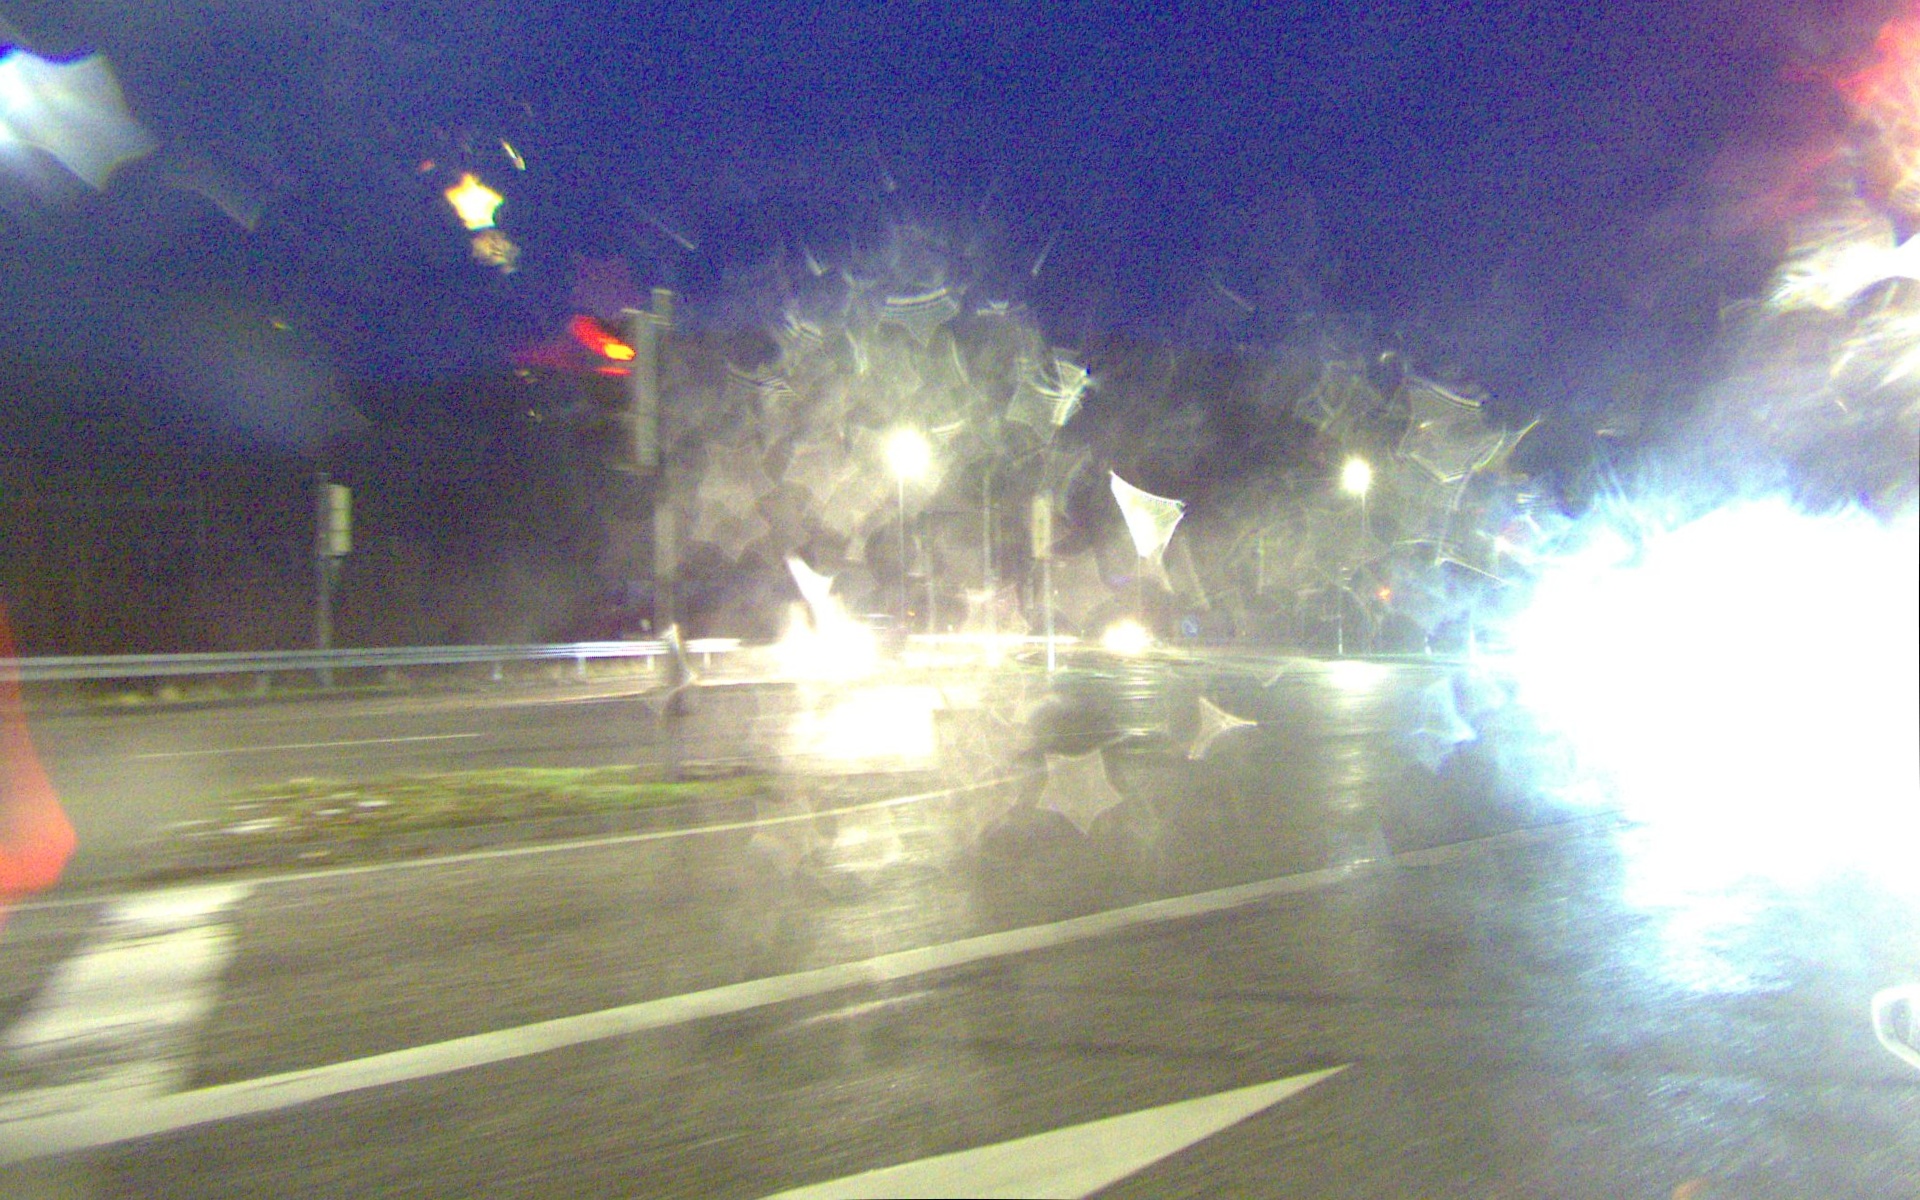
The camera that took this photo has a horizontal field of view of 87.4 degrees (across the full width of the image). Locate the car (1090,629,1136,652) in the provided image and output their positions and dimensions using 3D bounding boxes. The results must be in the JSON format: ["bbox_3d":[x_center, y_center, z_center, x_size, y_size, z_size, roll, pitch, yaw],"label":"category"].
[{"bbox_3d":[10.441,2.757,68.473,1.629,1.518,4.368,-2,-3,29],"label":"car"}]

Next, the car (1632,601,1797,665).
[{"bbox_3d":[20.292,0.869,26.967,4.855,1.592,1.784,1,0,-30],"label":"car"}]

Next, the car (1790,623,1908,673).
[{"bbox_3d":[27.927,1.502,31.533,3.683,1.473,1.661,2,-1,-29],"label":"car"}]

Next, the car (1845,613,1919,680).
[{"bbox_3d":[24.760,1.148,25.559,4.649,1.592,1.693,1,0,-26],"label":"car"}]

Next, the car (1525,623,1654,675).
[{"bbox_3d":[23.752,1.809,38.084,3.924,1.856,1.720,0,-1,25],"label":"car"}]

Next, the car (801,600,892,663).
[{"bbox_3d":[-3.008,0.833,27.521,1.717,1.523,4.894,1,-1,2],"label":"car"}]
